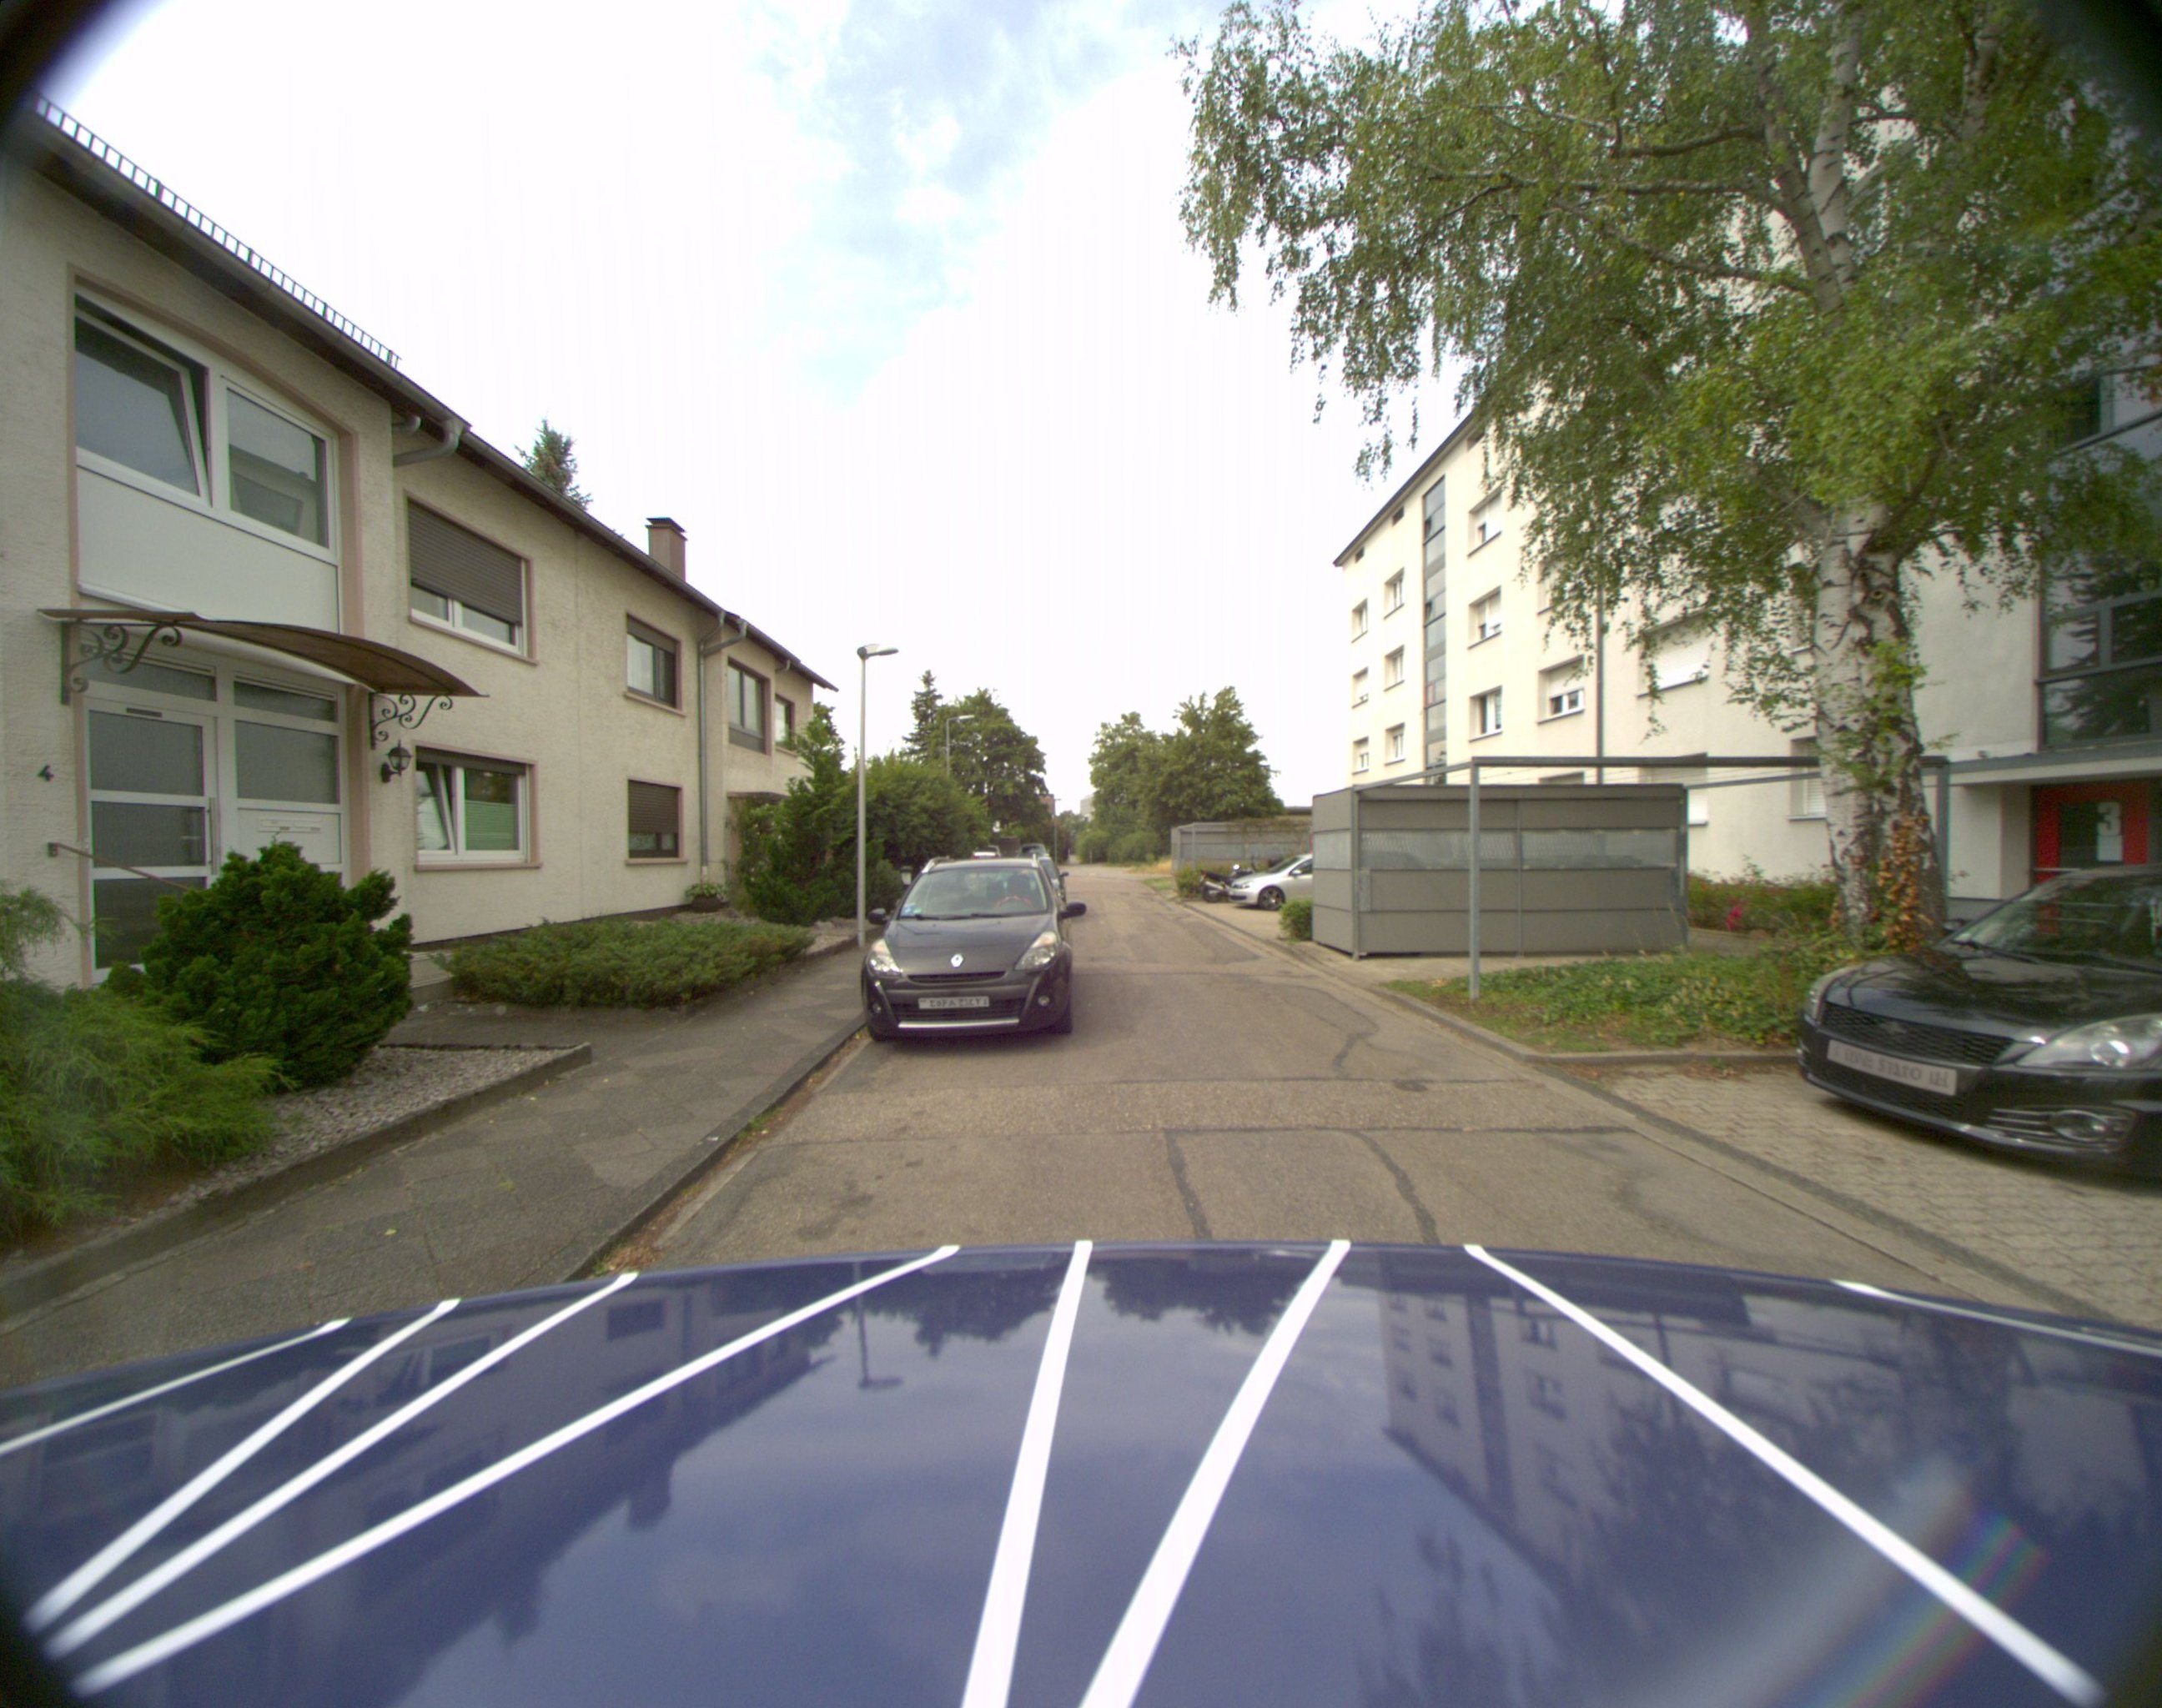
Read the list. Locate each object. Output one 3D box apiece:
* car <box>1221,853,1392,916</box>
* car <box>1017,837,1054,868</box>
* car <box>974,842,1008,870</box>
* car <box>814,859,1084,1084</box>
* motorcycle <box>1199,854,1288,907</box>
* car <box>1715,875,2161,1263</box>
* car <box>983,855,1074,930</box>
[{"bbox_3d":[5.928,0.781,20.356,3.997,1.477,1.902,2,1,1],"label":"car"},{"bbox_3d":[-2.594,-0.110,43.161,1.926,1.576,3.998,-2,1,-3],"label":"car"},{"bbox_3d":[-5.143,0.077,43.744,1.705,1.458,3.997,0,2,-3],"label":"car"},{"bbox_3d":[-1.013,0.828,7.401,1.834,1.449,4.188,-2,1,-3],"label":"car"},{"bbox_3d":[4.680,0.753,22.009,2.383,1.456,0.714,1,1,-1],"label":"motorcycle"},{"bbox_3d":[6.096,0.902,3.986,4.062,1.496,1.781,0,1,-1],"label":"car"},{"bbox_3d":[-1.173,0.783,17.677,1.834,1.449,4.188,-2,1,-3],"label":"car"}]
